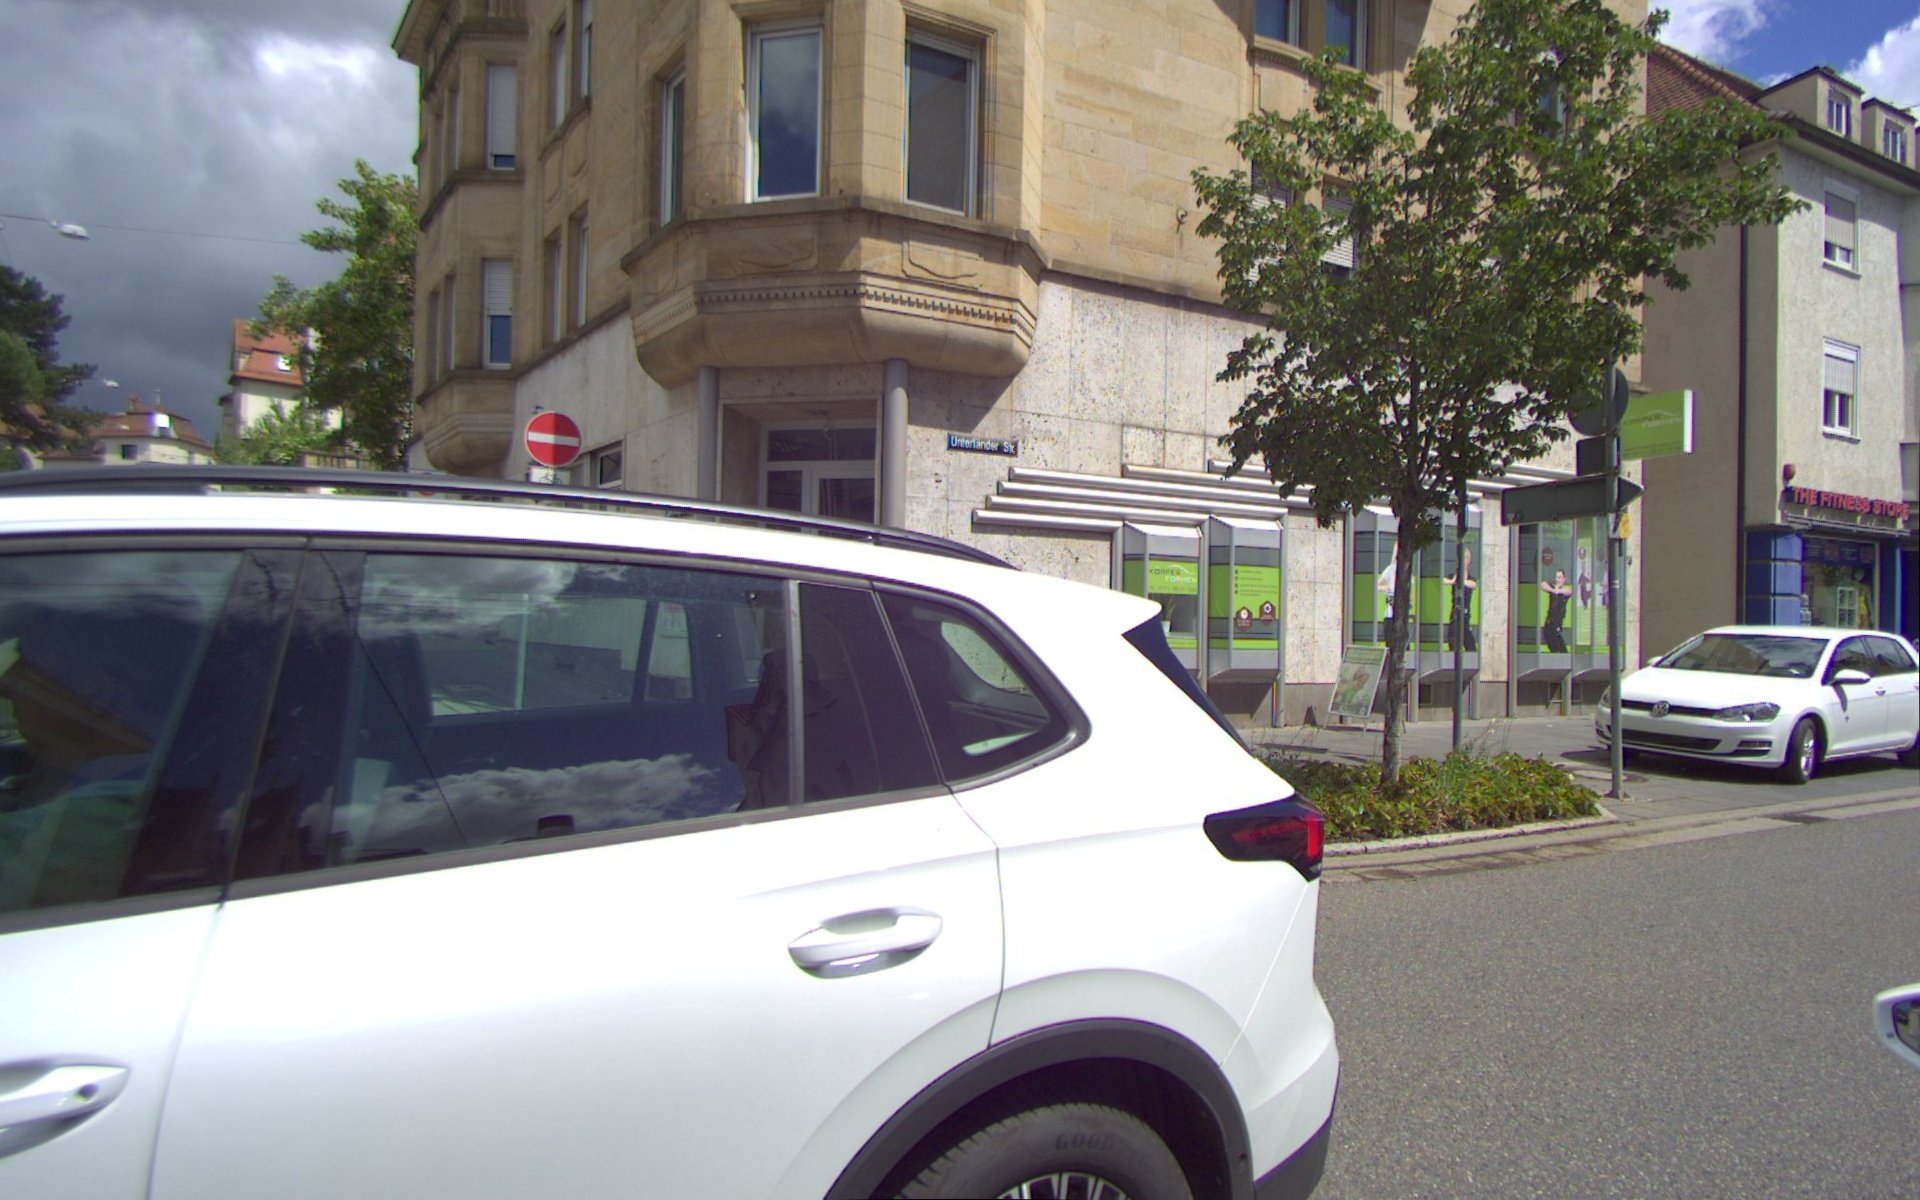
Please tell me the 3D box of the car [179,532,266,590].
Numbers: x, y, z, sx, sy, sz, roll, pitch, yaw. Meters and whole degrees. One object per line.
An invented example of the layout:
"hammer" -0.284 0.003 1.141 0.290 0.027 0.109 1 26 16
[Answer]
"car" -22.528 -1.206 30.809 1.980 1.582 4.177 2 1 -35

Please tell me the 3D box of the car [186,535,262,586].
"car" -25.448 -1.382 34.854 1.980 1.582 4.177 2 1 -35

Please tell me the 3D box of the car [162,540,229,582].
"car" -31.873 -1.655 41.984 1.980 1.582 4.177 2 1 -35

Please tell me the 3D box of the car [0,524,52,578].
"car" -29.886 -1.552 31.210 1.812 1.574 4.194 2 1 -33

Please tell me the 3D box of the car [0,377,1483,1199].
"car" -1.187 0.605 1.826 4.065 1.662 1.780 2 1 -28

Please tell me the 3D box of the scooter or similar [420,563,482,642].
"scooter or similar" -9.373 0.027 18.464 0.615 1.373 1.899 2 1 -38

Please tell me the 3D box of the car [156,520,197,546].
"car" -54.776 -4.666 70.313 1.980 1.582 4.177 2 1 -35

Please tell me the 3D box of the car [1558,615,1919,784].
"car" 8.433 0.953 10.633 3.988 1.417 1.837 2 1 -29

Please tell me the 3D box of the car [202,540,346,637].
"car" -12.775 -0.249 18.765 1.980 1.582 4.177 2 1 -35

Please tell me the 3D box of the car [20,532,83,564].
"car" -48.484 -2.774 53.668 1.812 1.574 4.194 2 1 -33

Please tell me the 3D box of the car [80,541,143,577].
"car" -40.092 -1.951 47.556 1.982 1.582 4.174 2 1 -37

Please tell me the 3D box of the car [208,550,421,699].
"car" -8.378 0.206 13.012 1.980 1.582 4.177 2 1 -35

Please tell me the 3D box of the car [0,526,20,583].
"car" -27.245 -1.276 27.225 1.812 1.574 4.194 2 1 -33

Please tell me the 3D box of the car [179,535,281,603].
"car" -18.929 -0.824 26.184 1.980 1.582 4.177 2 1 -35
